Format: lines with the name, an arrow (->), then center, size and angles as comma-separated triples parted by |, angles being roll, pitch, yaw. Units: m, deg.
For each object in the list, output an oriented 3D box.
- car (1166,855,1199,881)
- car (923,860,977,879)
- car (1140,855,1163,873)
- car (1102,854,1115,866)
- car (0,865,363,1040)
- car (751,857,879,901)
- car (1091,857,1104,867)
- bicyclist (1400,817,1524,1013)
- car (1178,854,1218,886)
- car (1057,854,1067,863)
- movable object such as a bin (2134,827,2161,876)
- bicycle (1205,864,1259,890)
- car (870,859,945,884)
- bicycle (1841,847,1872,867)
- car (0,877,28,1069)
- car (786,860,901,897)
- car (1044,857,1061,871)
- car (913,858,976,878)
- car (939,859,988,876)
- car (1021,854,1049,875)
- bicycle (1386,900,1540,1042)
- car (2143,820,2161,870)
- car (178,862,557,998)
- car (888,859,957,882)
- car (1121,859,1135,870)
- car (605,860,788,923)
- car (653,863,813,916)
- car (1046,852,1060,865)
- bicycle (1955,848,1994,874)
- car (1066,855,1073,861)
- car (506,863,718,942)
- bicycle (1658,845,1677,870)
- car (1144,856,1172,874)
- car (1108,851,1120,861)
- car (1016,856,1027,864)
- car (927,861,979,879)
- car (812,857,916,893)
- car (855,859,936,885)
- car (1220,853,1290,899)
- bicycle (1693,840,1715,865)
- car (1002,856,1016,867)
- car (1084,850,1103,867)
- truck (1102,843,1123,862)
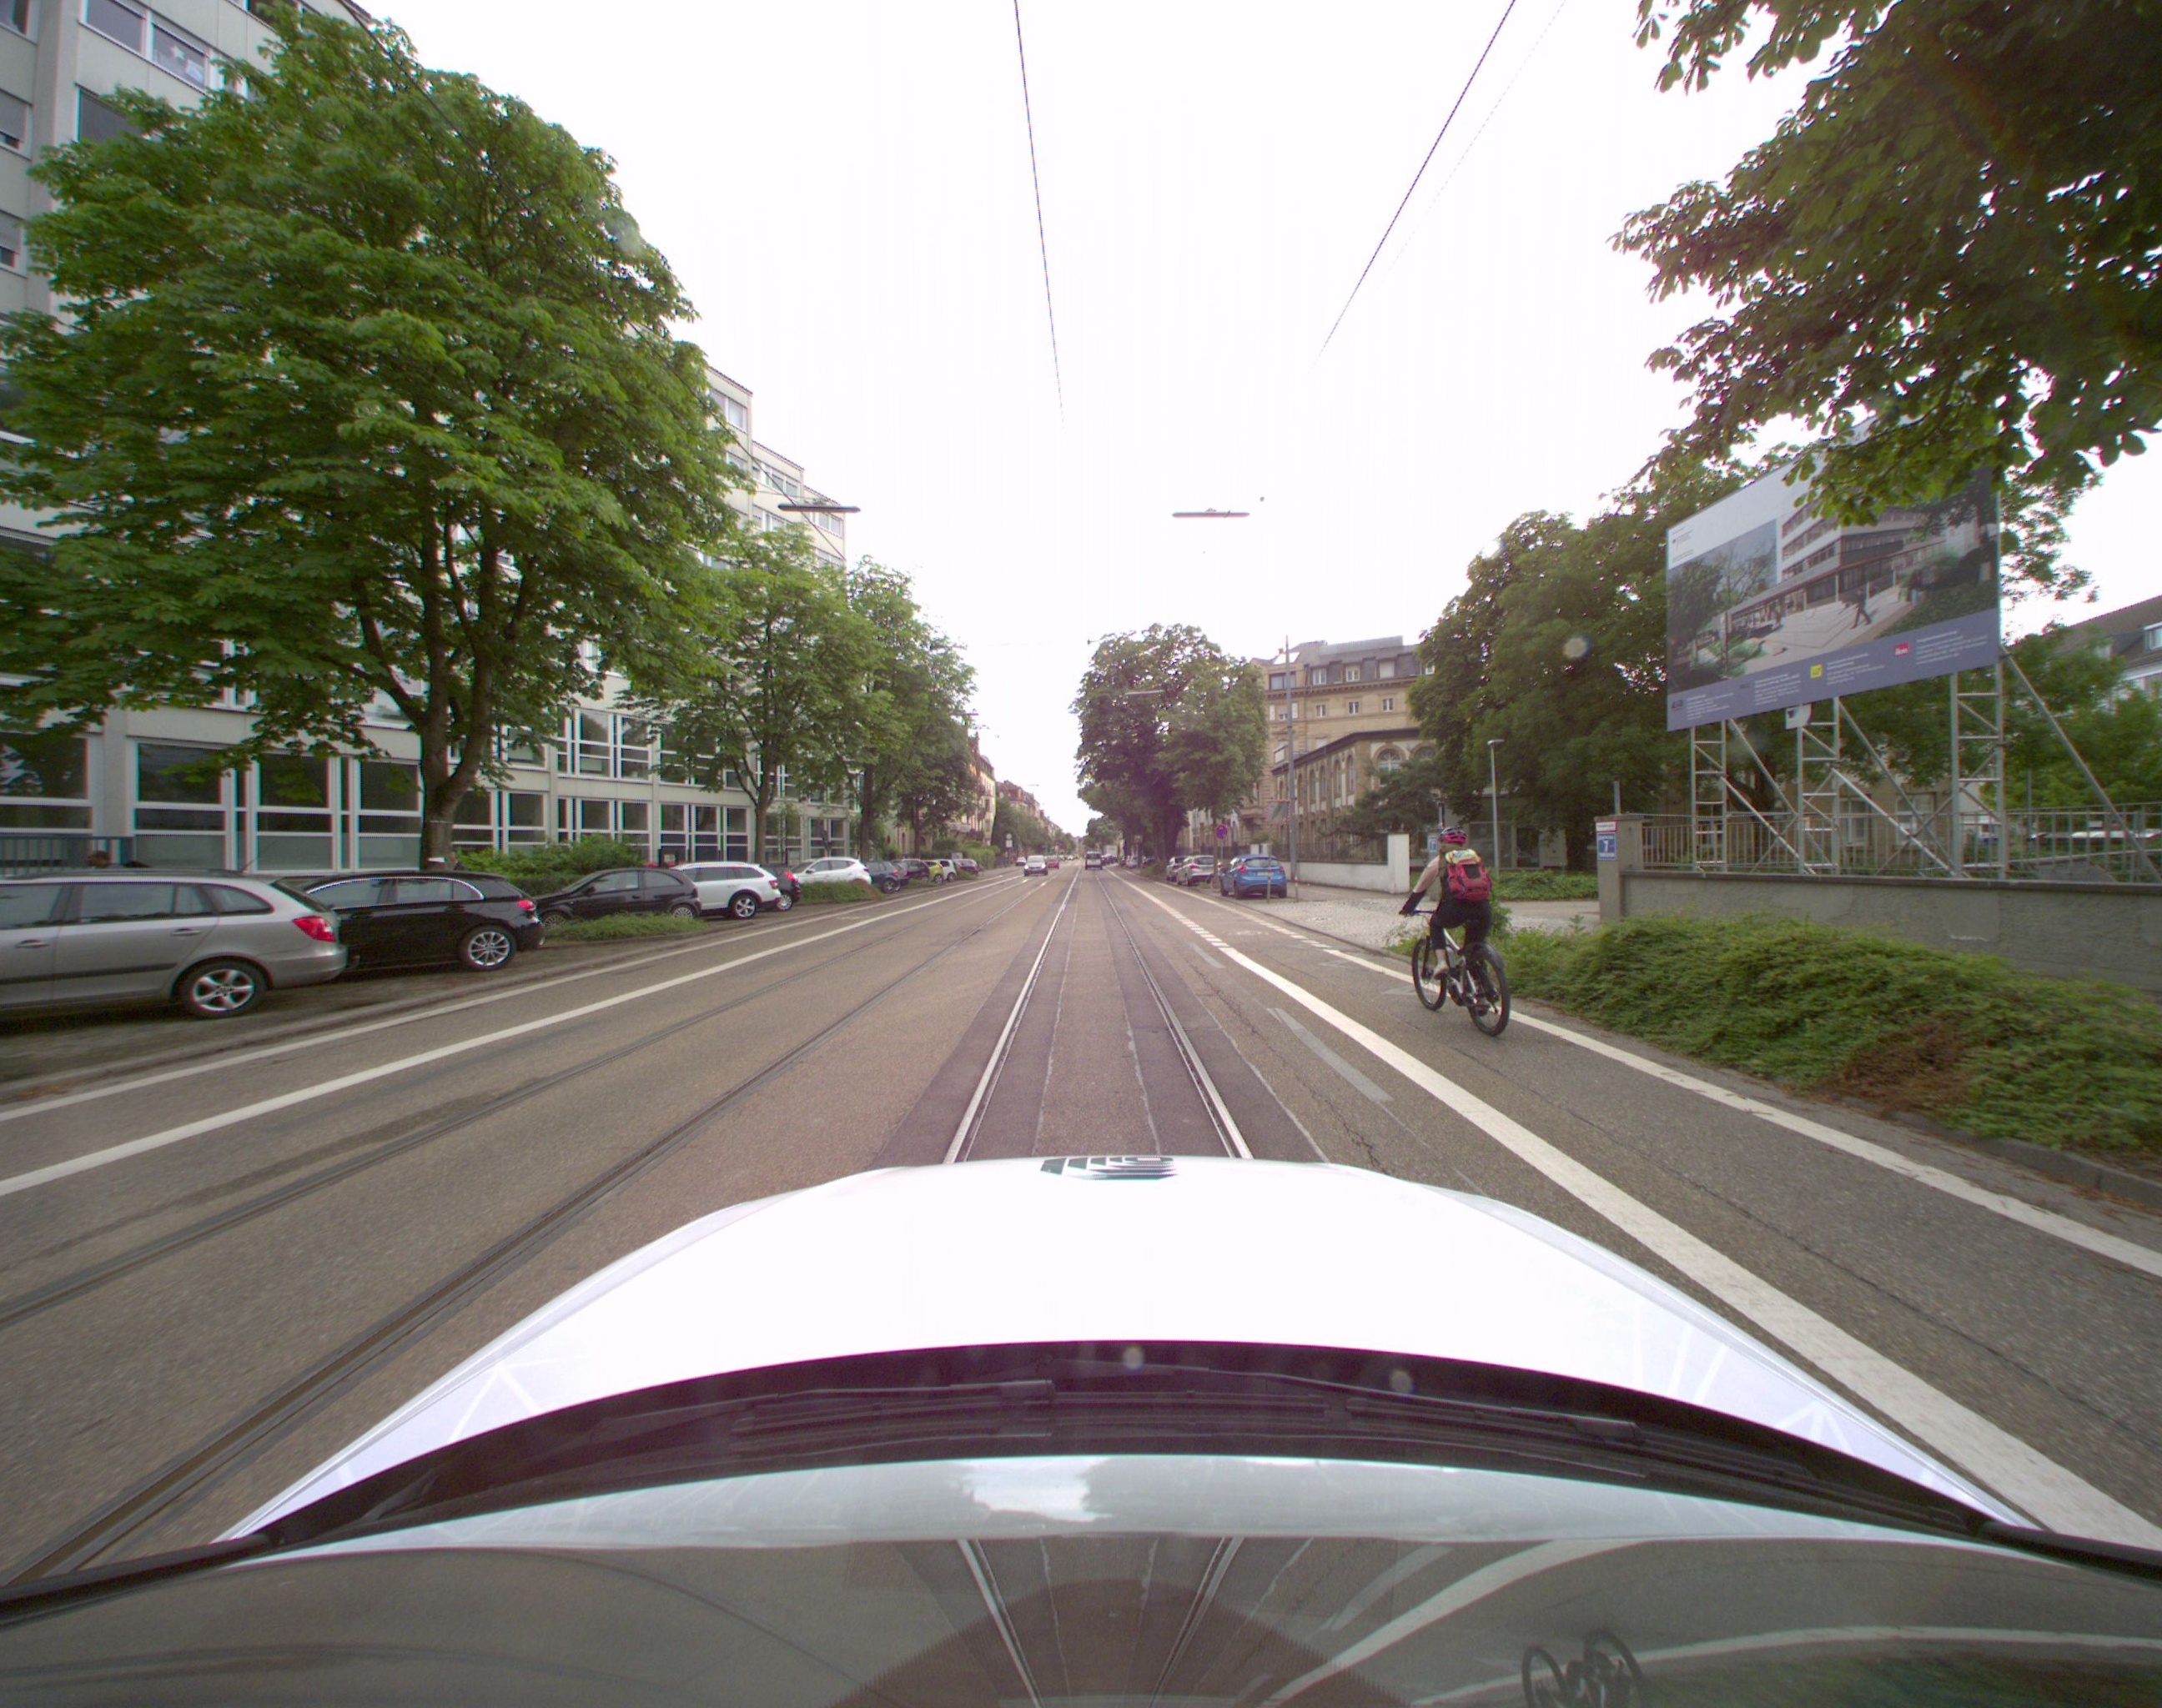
car -> 5.807, 0.761, 46.851 | 1.471, 1.429, 3.565 | -1, 0, 0
car -> -9.827, 1.125, 61.083 | 3.724, 1.386, 1.686 | 0, 0, -24
car -> 5.965, 0.821, 69.525 | 1.784, 1.399, 3.797 | -1, 0, 3
car -> 4.455, 0.947, 131.789 | 1.986, 1.794, 4.002 | -1, 0, 2
car -> -9.753, 0.895, 8.228 | 3.672, 1.524, 1.553 | 0, 0, -44
car -> -10.031, 0.899, 30.998 | 1.678, 1.556, 4.373 | 0, 0, 41
car -> 2.423, 1.151, 116.445 | 1.763, 1.399, 3.797 | -1, 0, 3
bicyclist -> 3.339, 0.505, 7.208 | 0.655, 1.610, 0.920 | -1, 0, 2
car -> 5.663, 0.736, 39.742 | 1.471, 1.481, 3.565 | 0, 0, 0
car -> -4.713, 1.049, 202.238 | 2.198, 2.255, 4.000 | -1, 0, 0
movable object such as a bin -> 33.574, -0.084, 25.080 | 1.042, 1.450, 1.363 | -1, 2, 36
bicycle -> 6.018, 0.917, 32.482 | 2.008, 0.957, 0.533 | -1, 0, -4
car -> -10.040, 0.971, 47.256 | 1.679, 1.352, 3.991 | 0, 0, 45
bicycle -> 33.485, 0.130, 35.179 | 0.611, 0.813, 1.957 | -2, 0, 34
car -> -10.119, 0.913, 4.908 | 1.781, 1.465, 4.459 | -1, -1, 43
car -> -9.888, 0.983, 34.151 | 1.679, 1.454, 4.372 | 0, 0, 45
car -> -3.192, 1.144, 91.167 | 1.671, 1.522, 2.782 | 0, -1, 1
car -> -9.252, 0.935, 55.527 | 1.679, 1.352, 3.991 | 0, 0, 45
car -> -9.728, 1.113, 67.384 | 3.724, 1.386, 1.686 | 0, 0, -24
car -> -3.626, 0.821, 64.461 | 1.894, 1.530, 3.754 | -2, 0, 0
bicycle -> 3.354, 0.969, 7.365 | 0.488, 0.979, 2.058 | 0, 0, 2
car -> 46.195, -0.388, 32.468 | 4.299, 2.014, 1.864 | -1, -1, 23
car -> -9.611, 0.893, 11.254 | 3.727, 1.524, 1.679 | 0, 0, -44
car -> -9.765, 1.002, 50.353 | 1.679, 1.352, 3.991 | 0, 0, 45
car -> 6.261, 1.392, 108.500 | 1.763, 1.399, 3.797 | -1, 0, 3
car -> -9.977, 0.902, 21.270 | 4.047, 1.484, 1.681 | 0, 0, -38
car -> -10.218, 0.991, 24.052 | 4.047, 1.405, 1.681 | 0, 0, -38
car -> -5.375, 0.805, 157.916 | 2.195, 2.417, 4.005 | -1, 0, 4
bicycle -> 36.771, 0.277, 33.538 | 0.391, 1.065, 1.839 | -1, 0, 25
car -> -3.533, 1.283, 247.793 | 1.764, 1.643, 3.570 | -1, 0, 4
car -> -10.196, 0.965, 17.859 | 3.727, 1.524, 1.679 | 0, 0, -44
bicycle -> 27.566, 0.162, 38.319 | 0.611, 1.119, 2.235 | -2, 0, 34
car -> 5.724, 0.819, 60.851 | 1.866, 1.251, 4.003 | -1, 0, 3
car -> 6.308, 0.369, 156.511 | 1.988, 2.013, 3.998 | -1, 0, -1
car -> -10.054, 1.053, 137.976 | 1.637, 1.354, 3.873 | -1, 0, -3
car -> -10.065, 1.234, 63.939 | 3.724, 1.386, 1.686 | 0, 0, -24
car -> -9.955, 0.919, 37.539 | 1.679, 1.535, 4.372 | 0, 0, 45
car -> -9.980, 0.937, 44.012 | 1.679, 1.352, 3.991 | 0, 0, 45
car -> 5.844, 0.695, 27.690 | 1.669, 1.460, 3.432 | 0, 0, 0
bicycle -> 28.704, -0.079, 37.534 | 0.611, 1.119, 2.235 | -2, 0, 34
car -> -14.425, 1.457, 162.991 | 2.170, 2.207, 4.220 | -1, 0, 1
car -> 1.317, 0.509, 84.628 | 1.804, 1.708, 3.701 | 0, -1, 3
truck -> 7.167, -0.285, 185.413 | 3.799, 4.029, 10.207 | -1, 0, -3
